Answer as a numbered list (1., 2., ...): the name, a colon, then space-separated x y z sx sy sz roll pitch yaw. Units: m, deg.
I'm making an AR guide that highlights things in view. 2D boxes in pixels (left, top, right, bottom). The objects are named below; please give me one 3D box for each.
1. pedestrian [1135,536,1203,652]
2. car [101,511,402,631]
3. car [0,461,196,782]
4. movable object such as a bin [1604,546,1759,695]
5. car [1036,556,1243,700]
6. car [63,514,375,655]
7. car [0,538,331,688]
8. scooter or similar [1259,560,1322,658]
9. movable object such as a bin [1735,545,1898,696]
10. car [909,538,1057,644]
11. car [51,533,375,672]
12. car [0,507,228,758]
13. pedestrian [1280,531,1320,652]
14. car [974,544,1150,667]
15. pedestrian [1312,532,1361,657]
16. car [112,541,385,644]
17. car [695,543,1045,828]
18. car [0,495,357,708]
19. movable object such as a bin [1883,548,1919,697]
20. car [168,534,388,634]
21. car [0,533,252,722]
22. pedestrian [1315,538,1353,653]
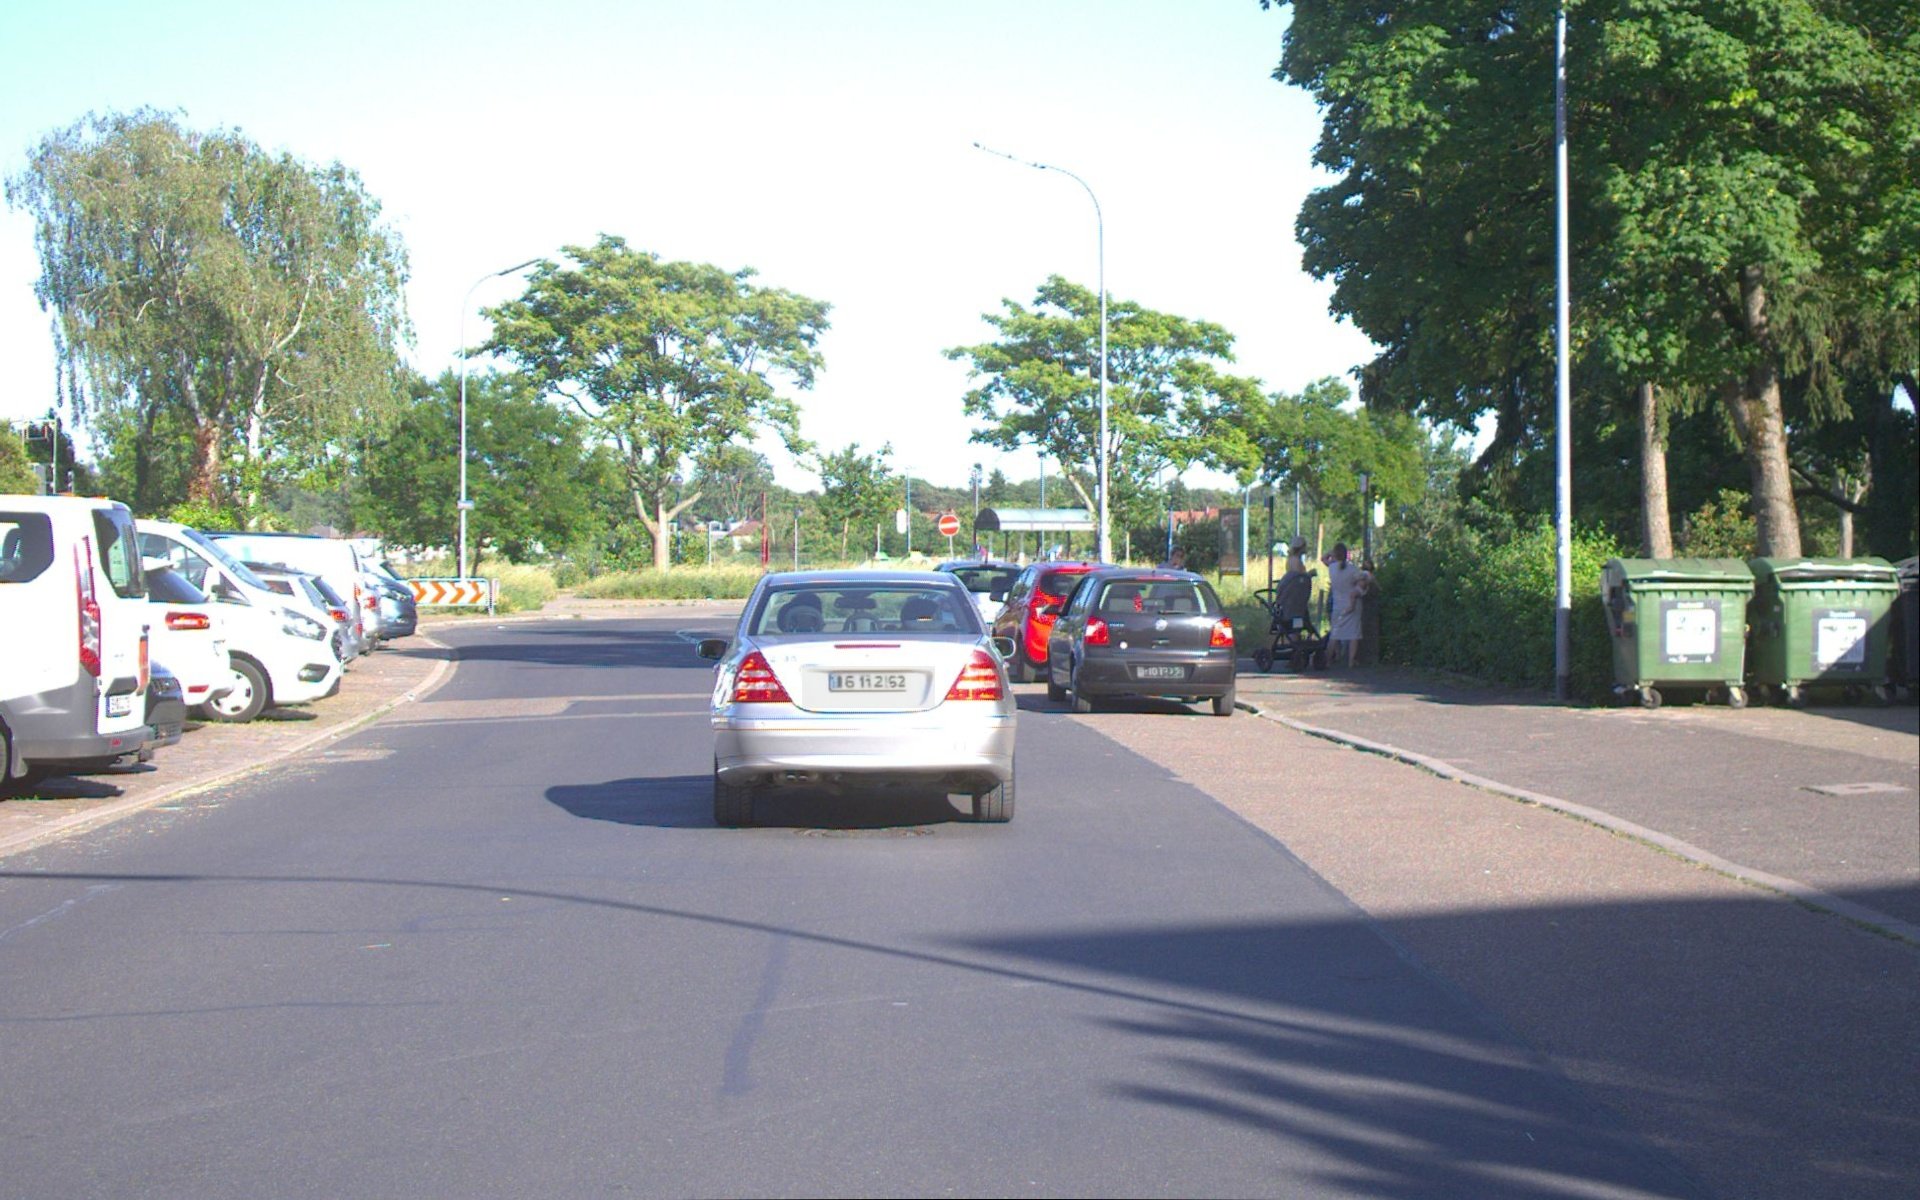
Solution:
1. pedestrian: 2.864 -0.081 47.232 0.787 1.559 0.570 2 0 -6
2. car: -11.916 -0.480 58.066 4.870 1.909 2.001 1 0 -10
3. car: -7.452 0.056 22.368 4.478 1.970 2.000 2 0 -2
4. movable object such as a bin: 6.900 0.193 32.924 1.237 1.398 0.915 1 0 -4
5. car: 1.797 0.267 35.507 1.647 1.398 3.882 0 0 -4
6. car: -9.953 -0.225 46.435 3.976 1.774 1.926 1 1 -8
7. car: -8.632 0.128 36.771 3.513 1.441 1.637 2 0 -3
8. scooter or similar: 4.179 0.114 43.490 0.622 1.223 0.905 -1 0 -6
9. movable object such as a bin: 8.212 0.195 33.009 1.274 1.411 0.951 1 0 -4
10. car: 0.319 -0.144 52.741 1.731 1.538 3.789 1 0 -7
11. car: -8.916 0.020 41.220 3.513 1.484 1.637 2 0 -3
12. car: -7.592 0.163 24.880 4.151 1.700 1.884 2 0 -1
13. pedestrian: 4.415 -0.110 44.659 0.481 1.559 0.597 -1 -1 5
14. car: 1.230 0.063 42.976 1.575 1.441 3.789 1 0 -7
15. pedestrian: 4.770 -0.066 43.562 0.485 1.559 0.469 -1 -1 -9
16. car: -11.487 -0.115 55.713 4.136 1.487 1.926 2 0 -7
17. car: -0.617 0.419 20.360 1.816 1.458 4.361 1 1 -4
18. car: -8.509 -0.020 33.932 4.788 1.914 2.082 2 0 -5
19. movable object such as a bin: 9.308 0.217 32.891 0.723 1.411 0.689 1 0 -4
20. car: -12.048 -0.282 60.871 3.611 1.601 1.733 2 0 -6
21. car: -8.614 0.198 31.113 3.987 1.577 1.884 2 0 -1
22. pedestrian: 4.905 -0.061 45.119 0.361 1.498 0.501 -1 -1 -8
